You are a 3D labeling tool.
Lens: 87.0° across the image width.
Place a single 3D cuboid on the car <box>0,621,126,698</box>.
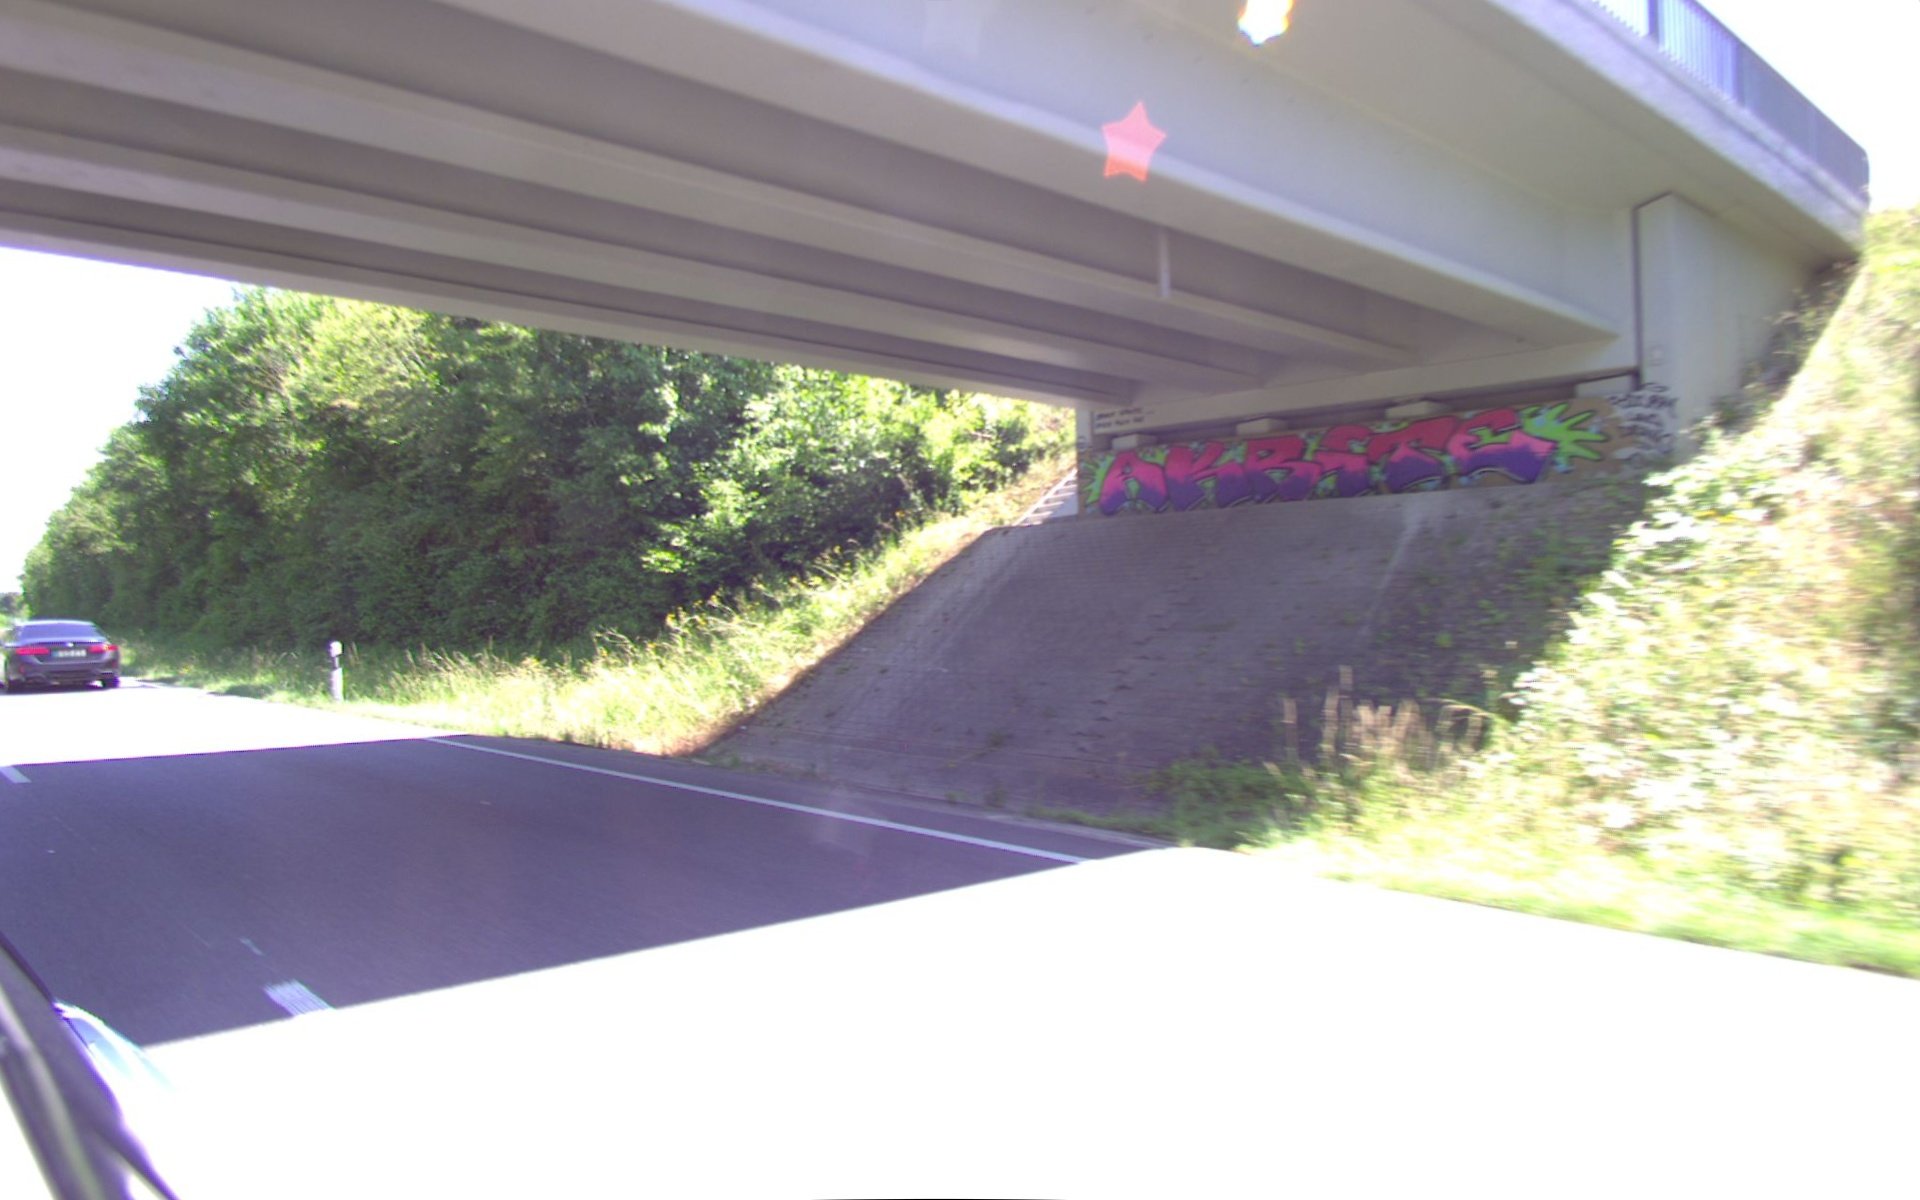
[{"bbox_3d":[-19.979,1.232,22.265,4.585,1.517,1.839,-1,-1,42],"label":"car"}]
